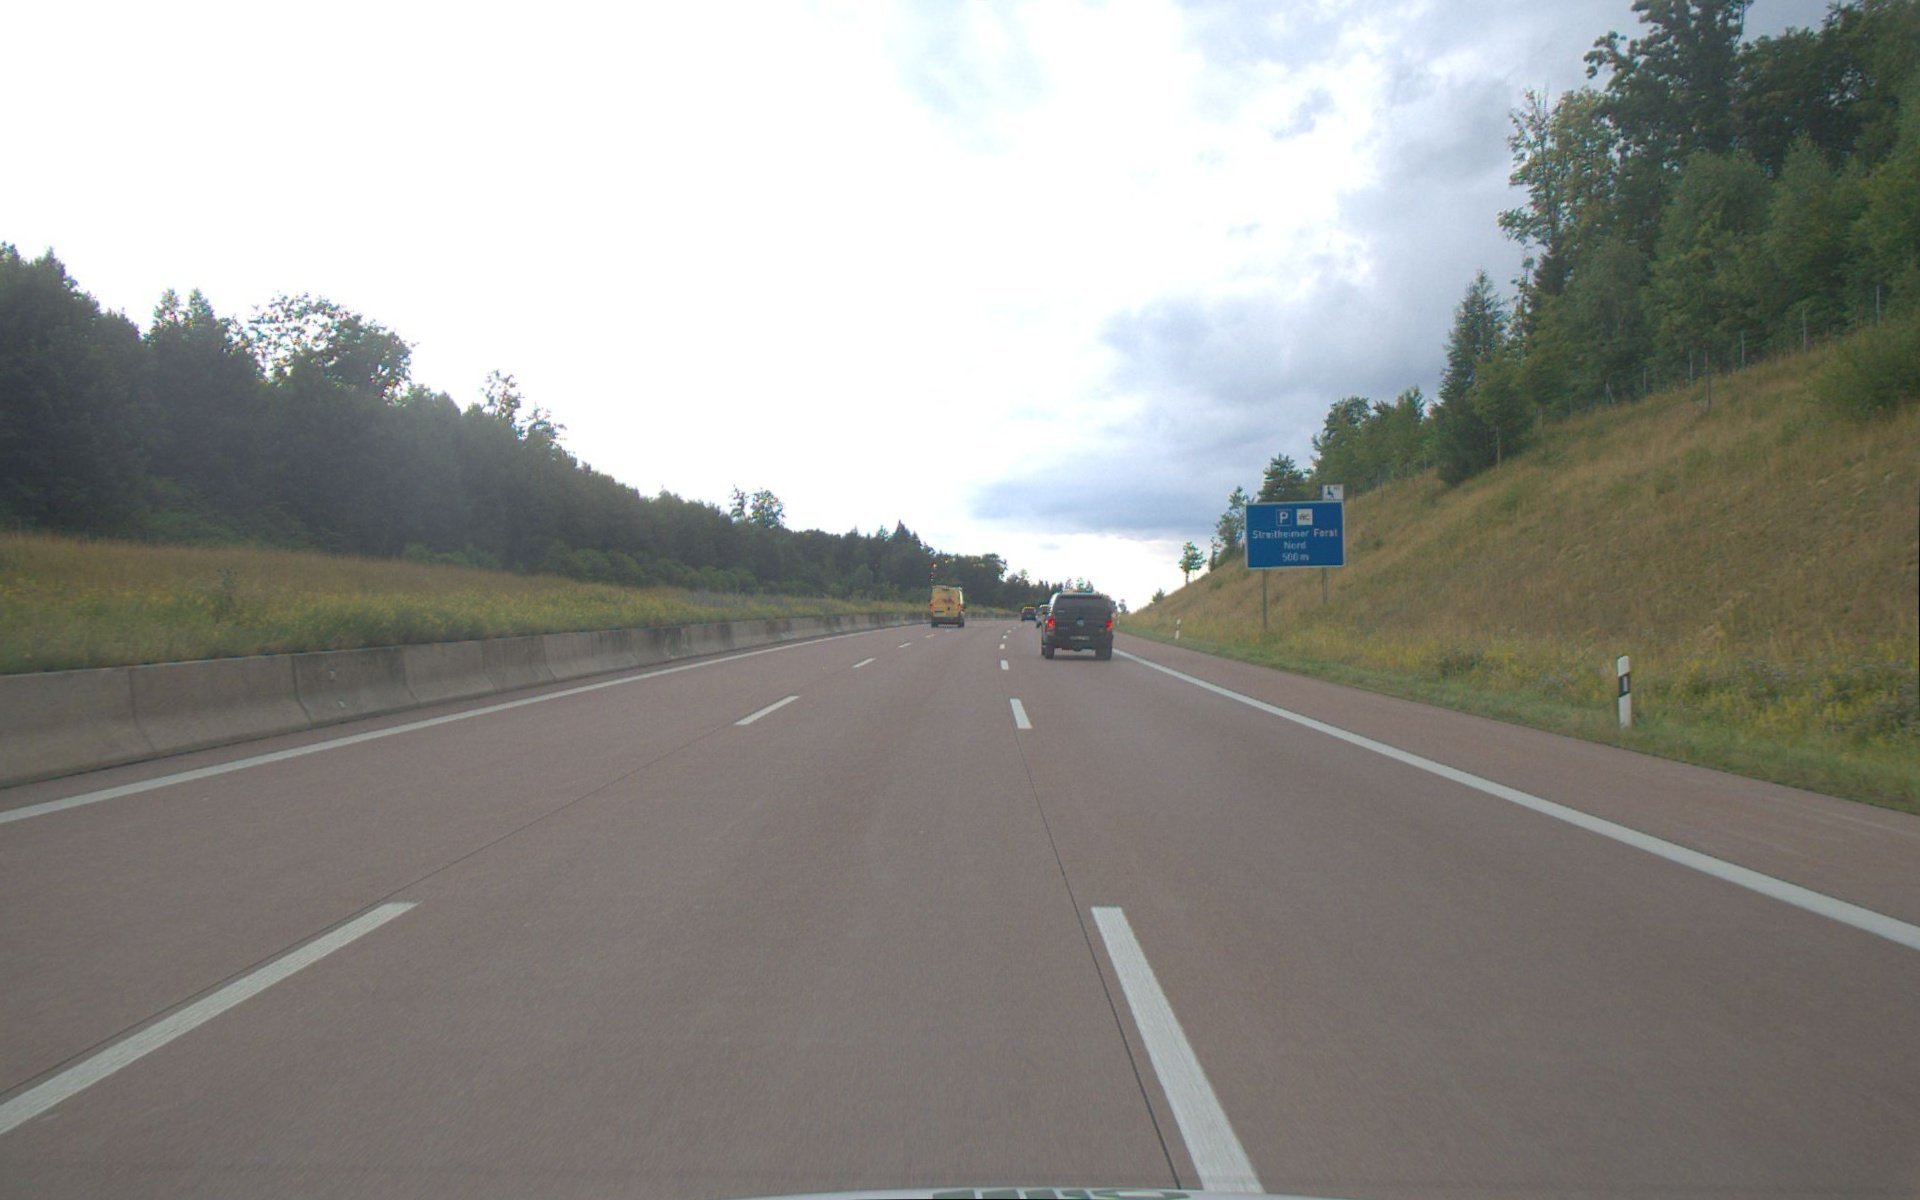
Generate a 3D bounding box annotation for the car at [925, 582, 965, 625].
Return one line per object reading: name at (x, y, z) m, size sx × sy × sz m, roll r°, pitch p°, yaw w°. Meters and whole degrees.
car at (-0.963, 0.280, 110.976) m, size 2.407 × 2.754 × 5.614 m, roll 0°, pitch -1°, yaw 2°

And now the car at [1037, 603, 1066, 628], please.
car at (6.390, 1.087, 115.570) m, size 1.936 × 1.677 × 4.620 m, roll 1°, pitch -1°, yaw 2°

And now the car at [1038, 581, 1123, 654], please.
car at (3.353, 0.523, 47.078) m, size 2.002 × 1.930 × 5.576 m, roll 0°, pitch -1°, yaw 0°

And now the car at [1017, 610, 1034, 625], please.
car at (7.821, 2.094, 197.141) m, size 1.848 × 1.795 × 5.000 m, roll 0°, pitch -1°, yaw 5°
